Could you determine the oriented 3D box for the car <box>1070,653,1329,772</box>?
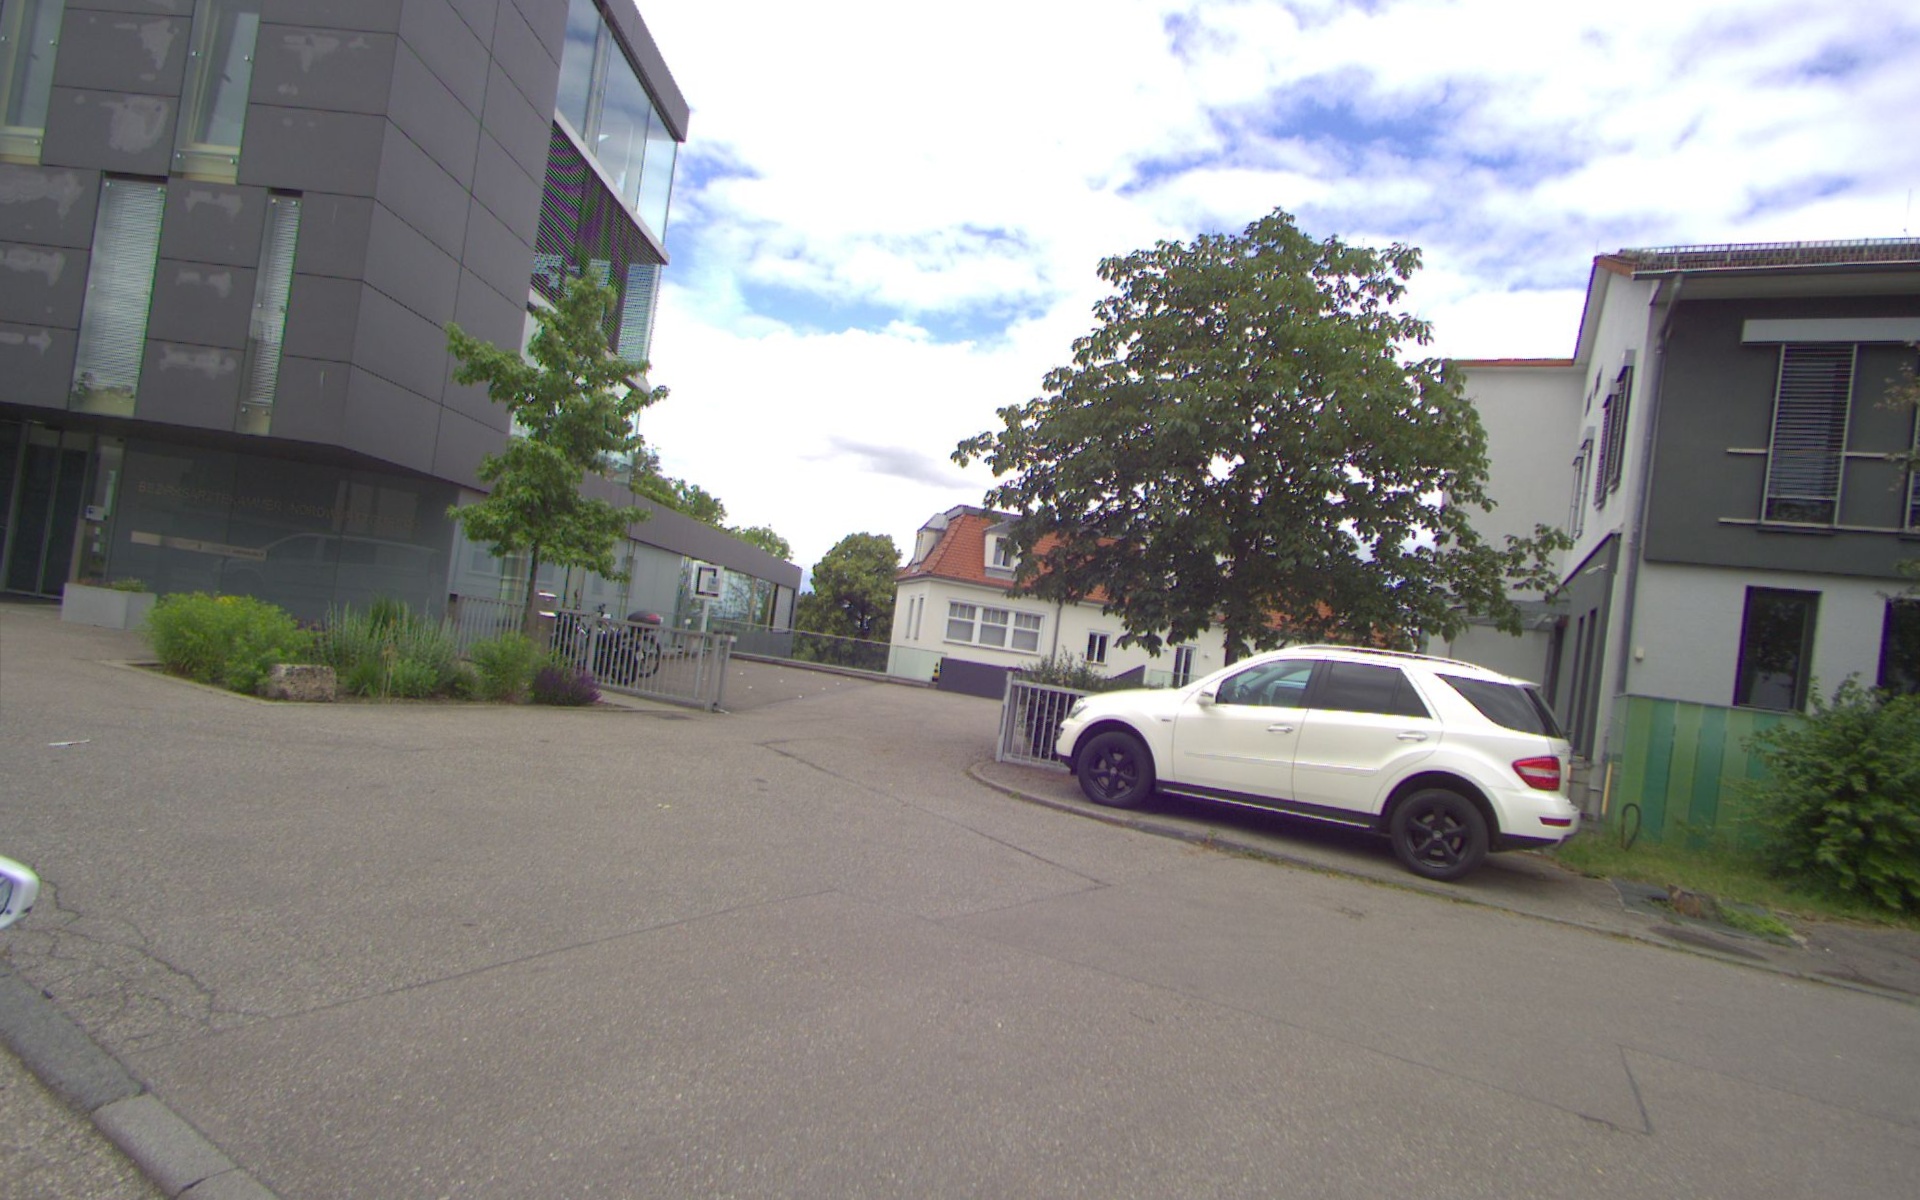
[{"bbox_3d":[4.262,1.944,17.954,4.142,1.501,1.621,5,-2,25],"label":"car"}]

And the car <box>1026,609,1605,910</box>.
[{"bbox_3d":[3.194,1.293,9.497,4.643,1.778,1.856,7,-2,31],"label":"car"}]

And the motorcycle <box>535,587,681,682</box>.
[{"bbox_3d":[-6.499,0.639,18.580,2.416,1.409,0.671,7,-1,13],"label":"motorcycle"}]

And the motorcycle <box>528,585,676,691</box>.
[{"bbox_3d":[-5.873,0.622,16.518,2.084,1.409,0.671,8,-1,13],"label":"motorcycle"}]
